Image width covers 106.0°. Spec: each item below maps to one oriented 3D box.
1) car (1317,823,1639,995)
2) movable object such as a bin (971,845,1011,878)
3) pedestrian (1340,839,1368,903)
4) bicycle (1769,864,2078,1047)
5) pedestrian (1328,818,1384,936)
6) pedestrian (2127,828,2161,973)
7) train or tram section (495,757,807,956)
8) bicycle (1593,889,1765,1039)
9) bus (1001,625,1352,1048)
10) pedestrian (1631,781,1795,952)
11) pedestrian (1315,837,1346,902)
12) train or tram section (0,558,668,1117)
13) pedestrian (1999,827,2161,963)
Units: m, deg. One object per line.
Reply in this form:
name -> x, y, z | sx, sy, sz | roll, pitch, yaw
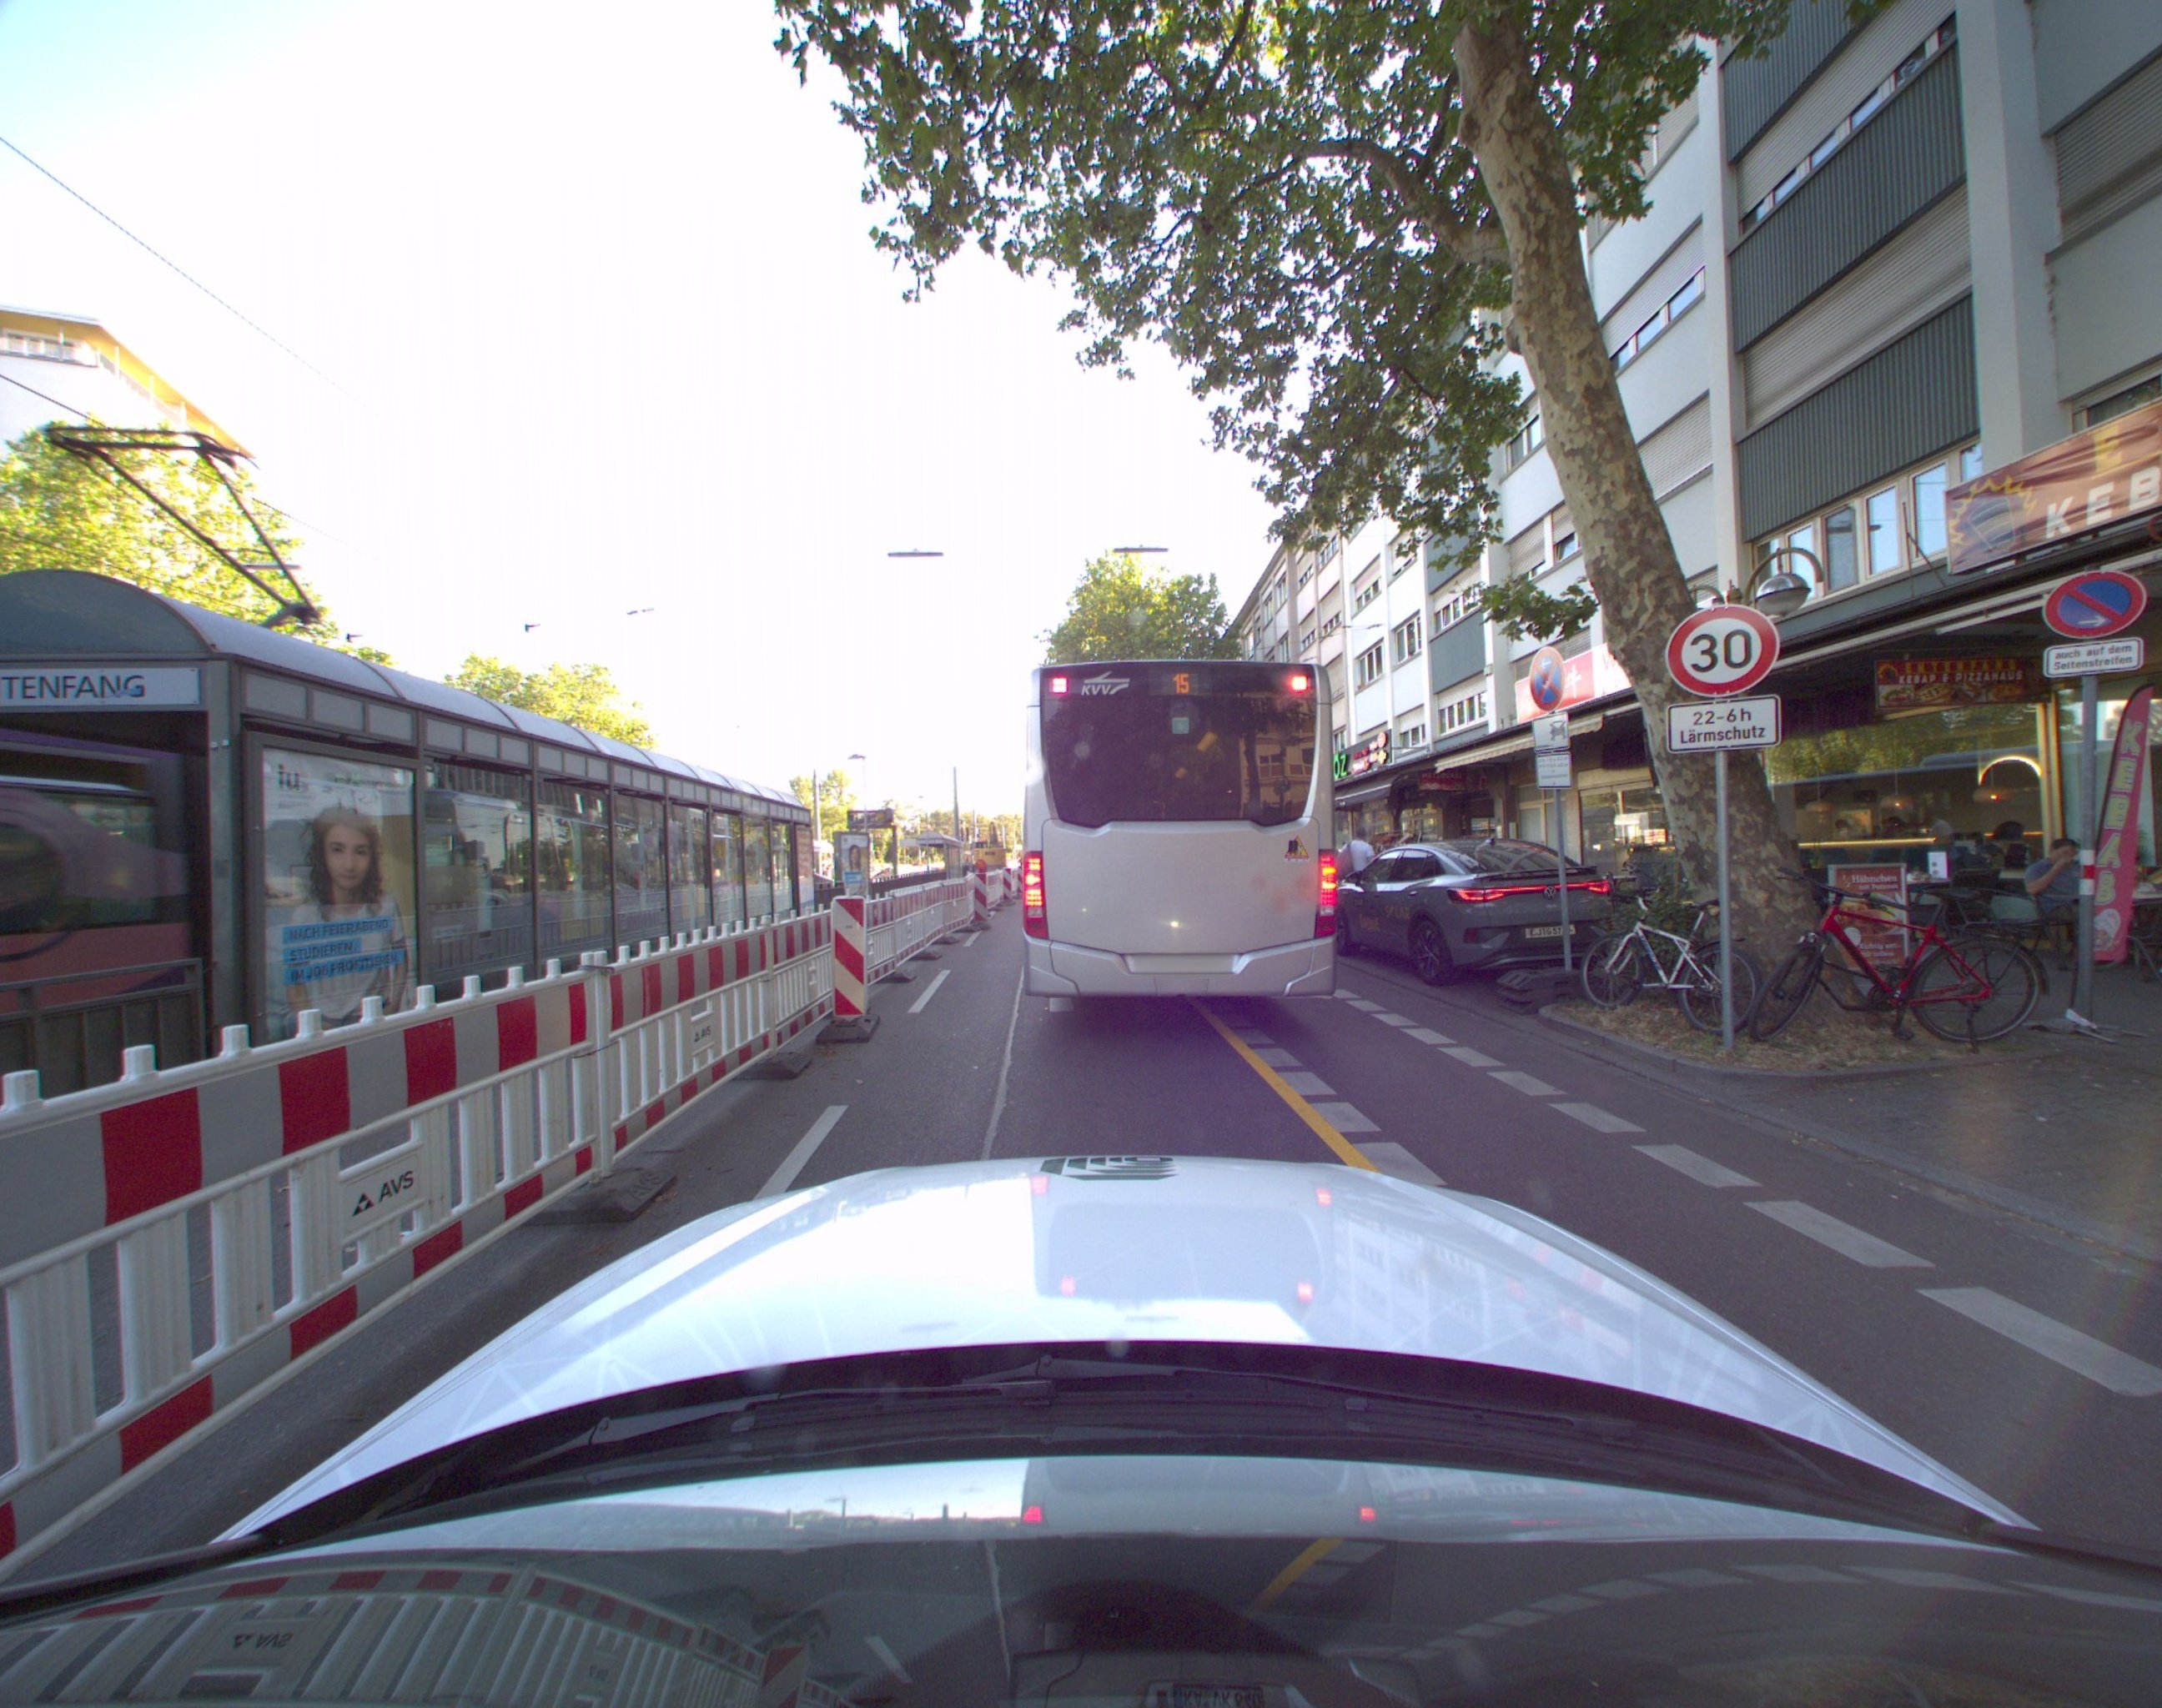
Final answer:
car -> 4.608, 0.560, 10.307 | 1.736, 1.597, 4.294 | -4, 0, -3
movable object such as a bin -> -7.043, 0.598, 64.001 | 2.800, 2.462, 3.995 | -2, 0, -3
pedestrian -> 8.784, 0.530, 26.244 | 0.610, 2.014, 0.697 | -2, -1, 2
bicycle -> 5.498, 0.673, 5.364 | 1.450, 1.066, 0.297 | -6, 2, 13
pedestrian -> 4.902, 0.402, 14.514 | 0.762, 2.013, 0.718 | -4, -1, 23
pedestrian -> 9.565, 0.387, 6.805 | 0.612, 1.243, 0.714 | -5, -1, 11
train or tram section -> -9.412, 0.064, 19.736 | 2.812, 3.487, 10.319 | -2, 0, -5
bicycle -> 4.485, 0.785, 6.183 | 0.294, 0.927, 1.127 | -6, 2, -8
bus -> 0.921, -0.124, 11.356 | 2.598, 3.170, 10.297 | -1, 0, 2
pedestrian -> 7.480, 0.147, 9.712 | 1.018, 1.890, 1.123 | -2, -1, 1
pedestrian -> 7.960, 0.485, 25.990 | 0.689, 2.014, 0.696 | -2, -1, -1
train or tram section -> -8.512, -0.035, 9.481 | 2.831, 3.487, 10.320 | -2, 0, -5
pedestrian -> 9.627, 0.383, 7.842 | 0.673, 1.203, 0.706 | -5, -1, 11
